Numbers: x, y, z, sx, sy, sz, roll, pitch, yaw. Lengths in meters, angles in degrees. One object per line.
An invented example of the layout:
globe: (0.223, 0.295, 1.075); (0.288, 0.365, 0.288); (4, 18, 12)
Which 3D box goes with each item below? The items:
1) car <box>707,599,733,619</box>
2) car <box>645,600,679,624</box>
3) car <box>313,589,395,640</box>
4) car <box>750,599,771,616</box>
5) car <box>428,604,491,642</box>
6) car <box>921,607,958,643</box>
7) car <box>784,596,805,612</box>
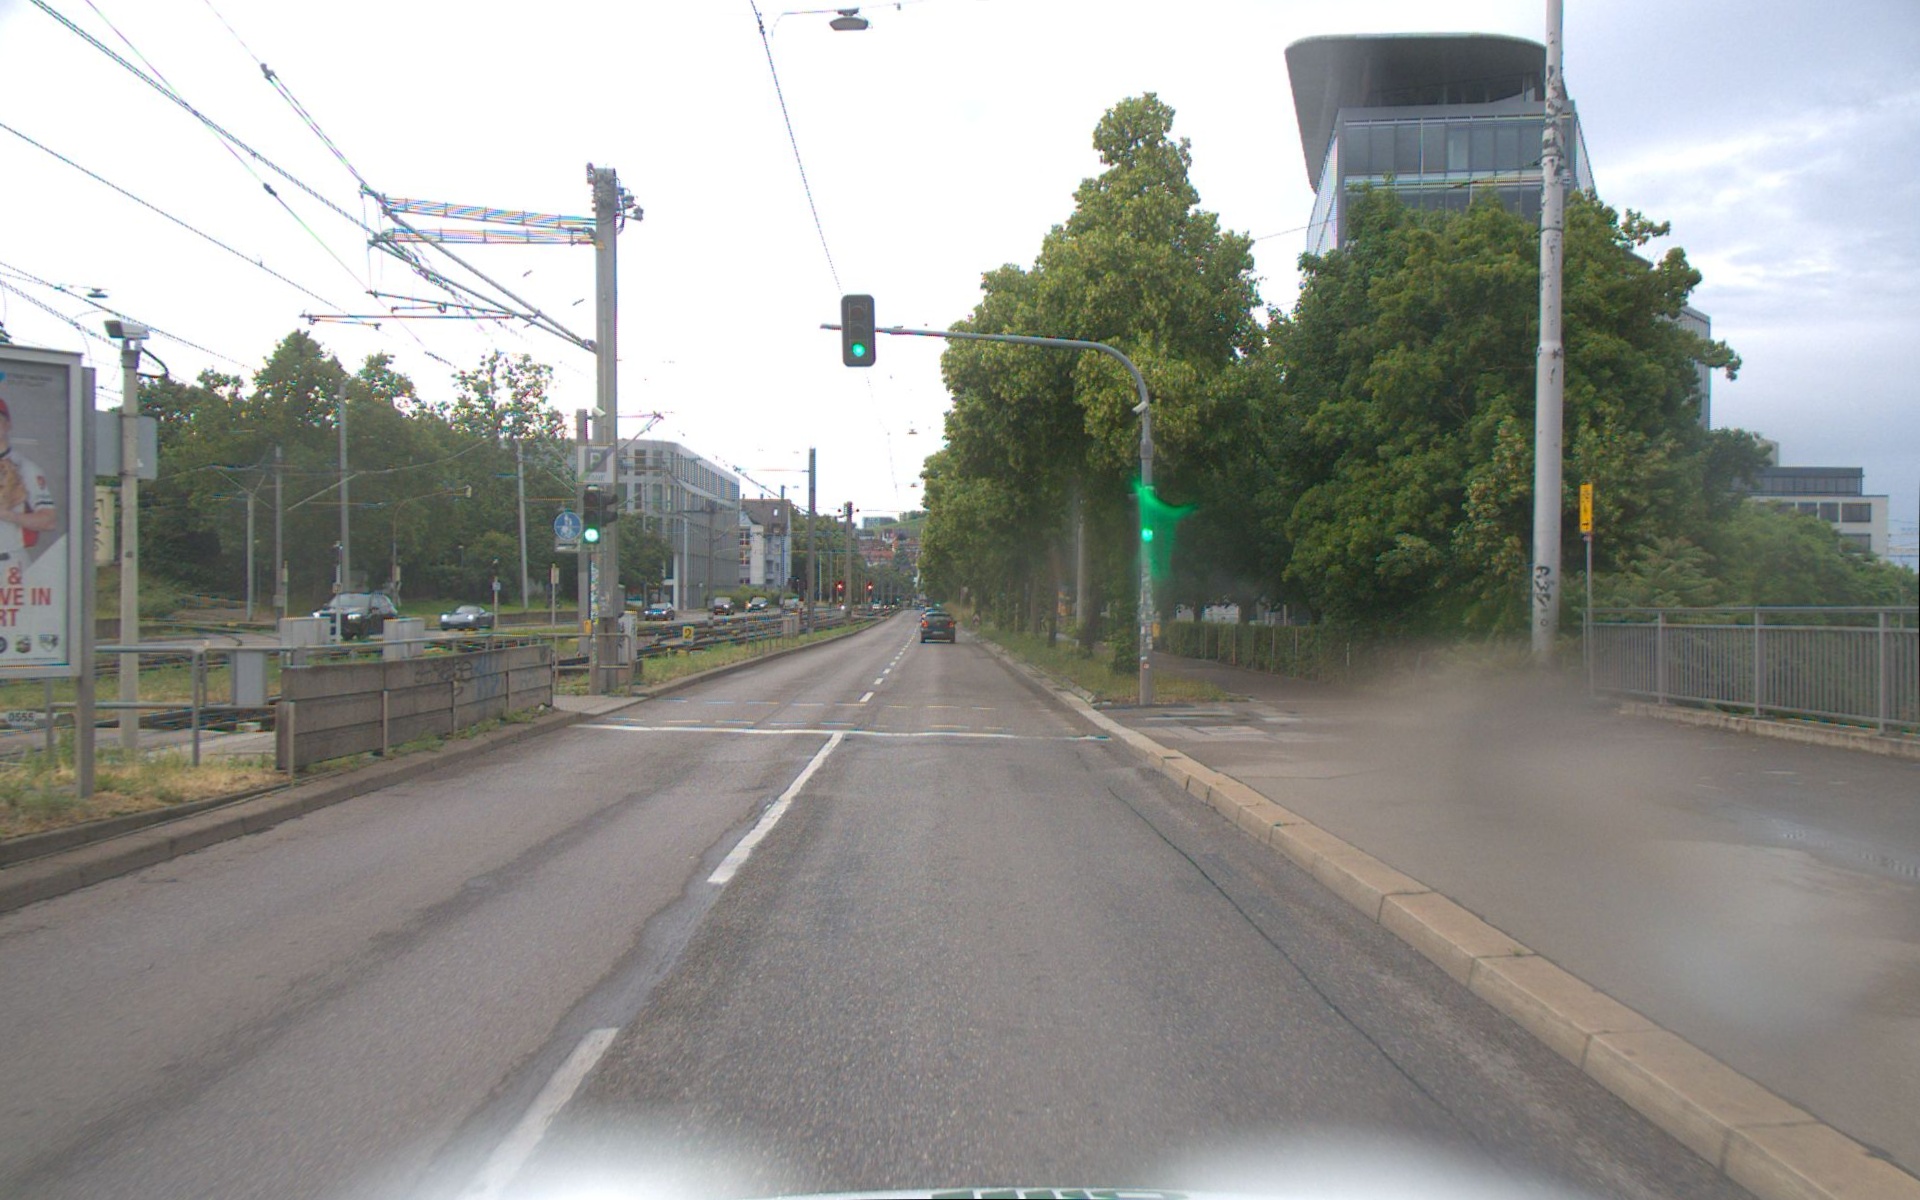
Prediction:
car: (-23.485, 0.872, 161.912); (1.811, 1.660, 3.611); (3, 2, 3)
car: (-23.855, 0.966, 132.361); (1.811, 1.660, 3.611); (3, 2, 3)
car: (-22.771, 0.525, 62.229); (1.632, 1.660, 3.305); (3, 2, 4)
car: (-22.670, 0.809, 187.986); (1.618, 1.660, 3.611); (3, 2, 4)
car: (-25.587, 1.137, 84.657); (1.811, 1.660, 3.814); (3, 2, 4)
car: (-0.983, 1.169, 78.561); (1.692, 1.567, 3.999); (1, 0, -1)
car: (-19.540, 0.503, 194.871); (1.811, 1.660, 3.611); (3, 2, 3)
